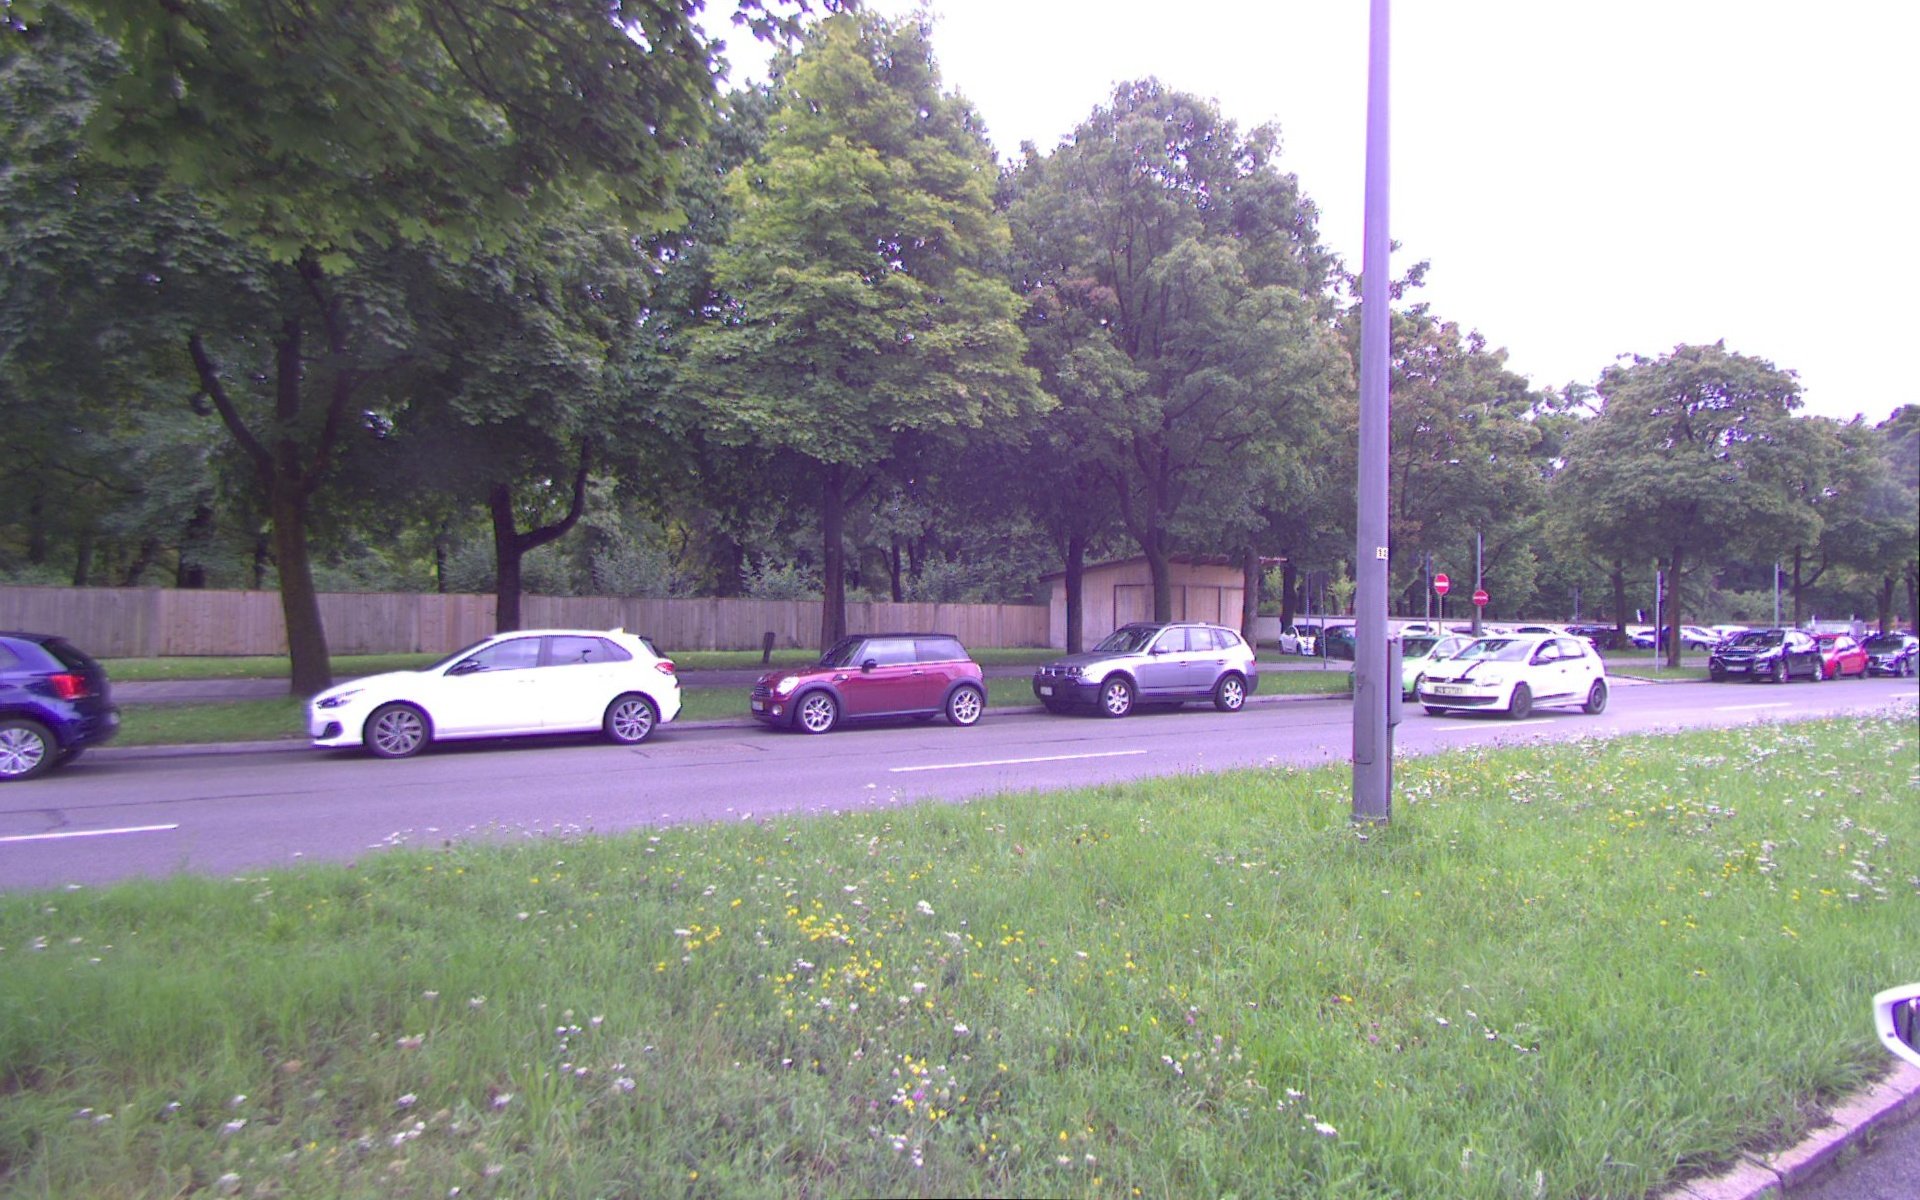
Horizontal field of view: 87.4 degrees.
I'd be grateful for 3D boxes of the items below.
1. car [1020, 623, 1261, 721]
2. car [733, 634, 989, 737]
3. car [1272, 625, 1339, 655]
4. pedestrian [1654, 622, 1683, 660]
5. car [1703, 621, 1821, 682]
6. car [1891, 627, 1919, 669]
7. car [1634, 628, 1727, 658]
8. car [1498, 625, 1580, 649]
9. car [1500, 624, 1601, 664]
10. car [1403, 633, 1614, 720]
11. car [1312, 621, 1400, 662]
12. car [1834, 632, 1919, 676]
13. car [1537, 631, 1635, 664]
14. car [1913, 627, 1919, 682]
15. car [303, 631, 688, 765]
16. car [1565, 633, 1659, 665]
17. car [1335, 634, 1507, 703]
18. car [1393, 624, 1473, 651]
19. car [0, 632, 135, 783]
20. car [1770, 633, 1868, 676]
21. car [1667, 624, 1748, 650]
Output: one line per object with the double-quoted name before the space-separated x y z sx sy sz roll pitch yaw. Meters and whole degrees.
"car" 3.340 1.242 18.305 4.322 1.607 1.682 1 -2 -32
"car" -1.496 1.228 15.371 3.586 1.415 1.584 1 -2 -29
"car" 15.965 1.839 46.628 1.639 1.217 4.421 2 -1 1
"pedestrian" 29.343 1.703 41.613 0.712 1.554 0.724 1 0 -30
"car" 25.198 1.594 31.536 3.835 1.764 1.707 2 0 -32
"car" 38.282 1.903 39.417 3.835 1.579 1.582 2 0 -32
"car" 39.495 2.359 55.117 1.656 1.465 3.840 2 0 -35
"car" 39.563 2.509 68.759 1.653 1.465 4.669 2 0 -29
"car" 28.789 2.128 49.046 1.656 1.740 3.892 2 0 -35
"car" 9.769 1.302 17.844 3.794 1.393 1.610 1 -3 -31
"car" 16.070 1.657 40.988 1.922 1.465 4.421 2 0 1
"car" 33.632 1.929 36.573 3.835 1.465 1.658 2 0 -32
"car" 31.323 2.339 50.330 1.656 1.465 3.840 2 0 -35
"car" 31.353 1.665 30.936 4.455 1.644 1.757 1 -3 -31
"car" -5.781 1.135 12.795 4.229 1.463 1.599 1 -2 -31
"car" 34.467 2.575 53.144 1.656 1.465 3.840 2 0 -35
"car" 10.416 1.500 22.647 3.831 1.428 1.541 1 -2 -29
"car" 30.049 2.353 63.915 1.653 1.496 4.485 2 -1 -29
"car" -10.530 1.028 9.619 3.856 1.436 1.604 1 -3 -33
"car" 29.308 1.837 34.248 3.343 1.329 1.582 2 0 -32
"car" 47.944 2.349 64.465 1.656 1.465 3.840 2 0 -35
